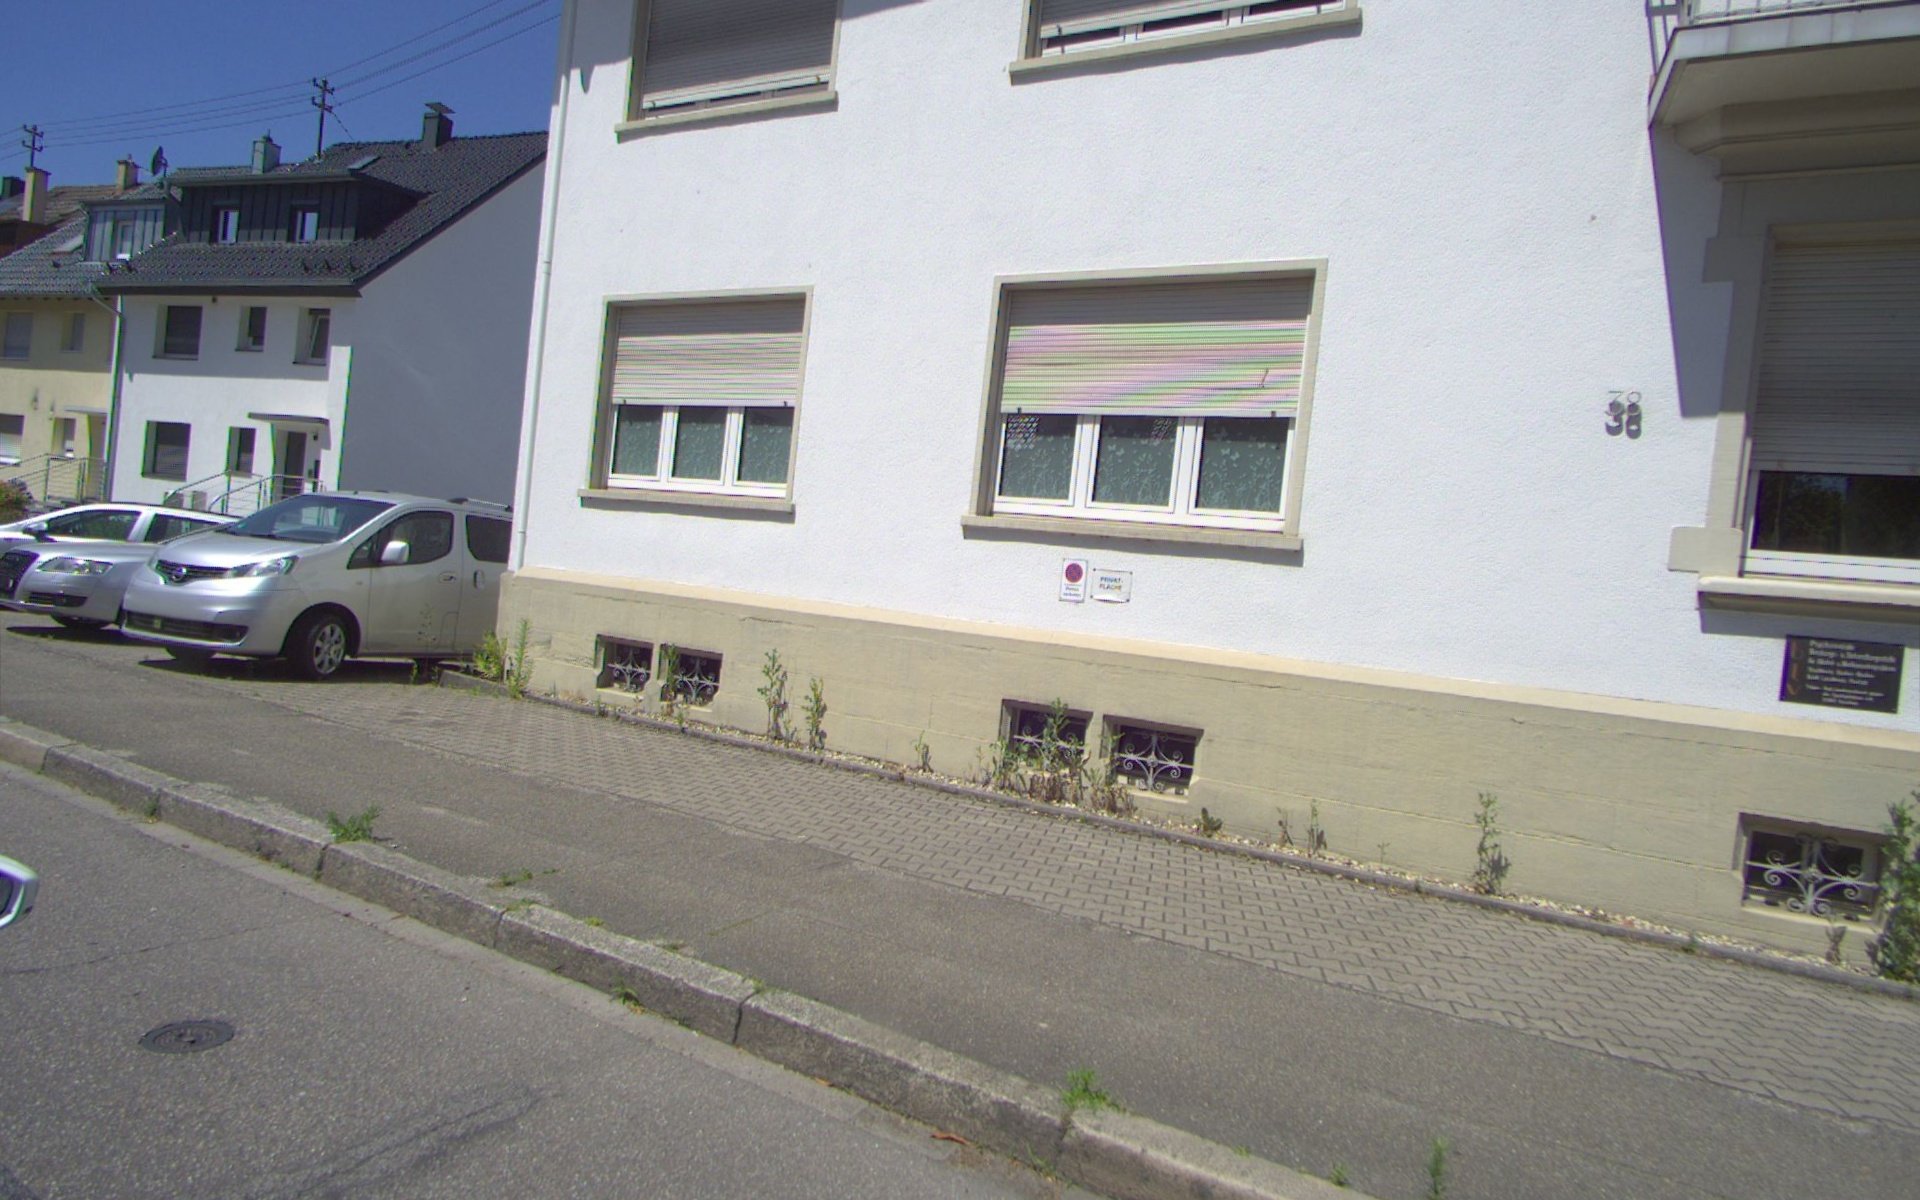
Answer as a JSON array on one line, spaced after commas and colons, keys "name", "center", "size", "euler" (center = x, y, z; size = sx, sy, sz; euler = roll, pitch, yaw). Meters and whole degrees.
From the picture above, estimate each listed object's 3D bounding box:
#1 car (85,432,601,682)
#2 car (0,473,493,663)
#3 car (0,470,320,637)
[{"name": "car", "center": [-5.943, -0.231, 10.440], "size": [1.706, 1.851, 4.311], "euler": [7, -3, 18]}, {"name": "car", "center": [-8.051, -0.228, 11.576], "size": [1.738, 1.424, 4.656], "euler": [7, -3, 27]}, {"name": "car", "center": [-10.748, -0.594, 12.762], "size": [4.263, 1.565, 1.742], "euler": [9, -3, -32]}]
